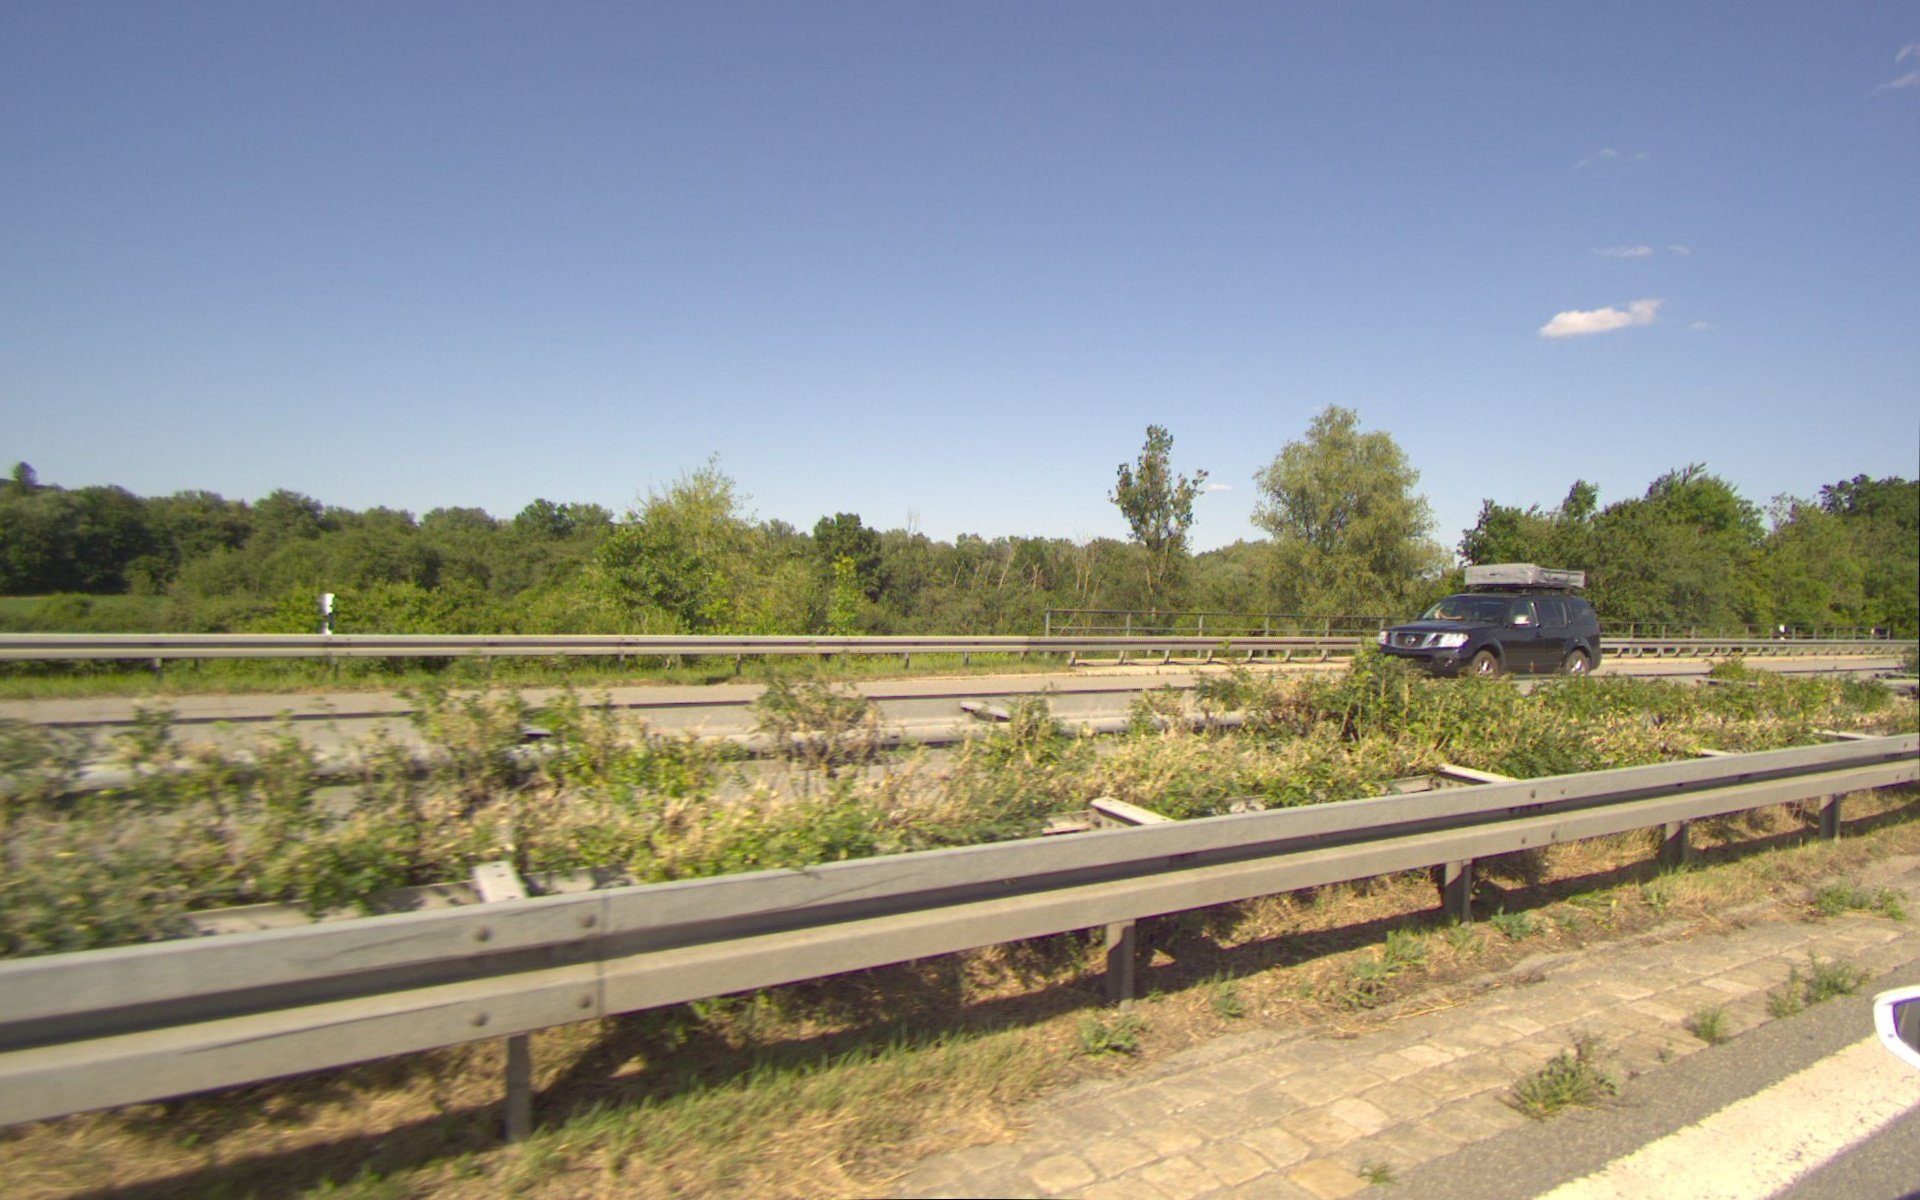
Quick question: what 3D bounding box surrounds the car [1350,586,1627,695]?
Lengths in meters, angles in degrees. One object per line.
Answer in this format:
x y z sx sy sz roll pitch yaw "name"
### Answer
9.504 0.703 17.936 5.256 1.701 1.984 1 -1 -31 "car"
